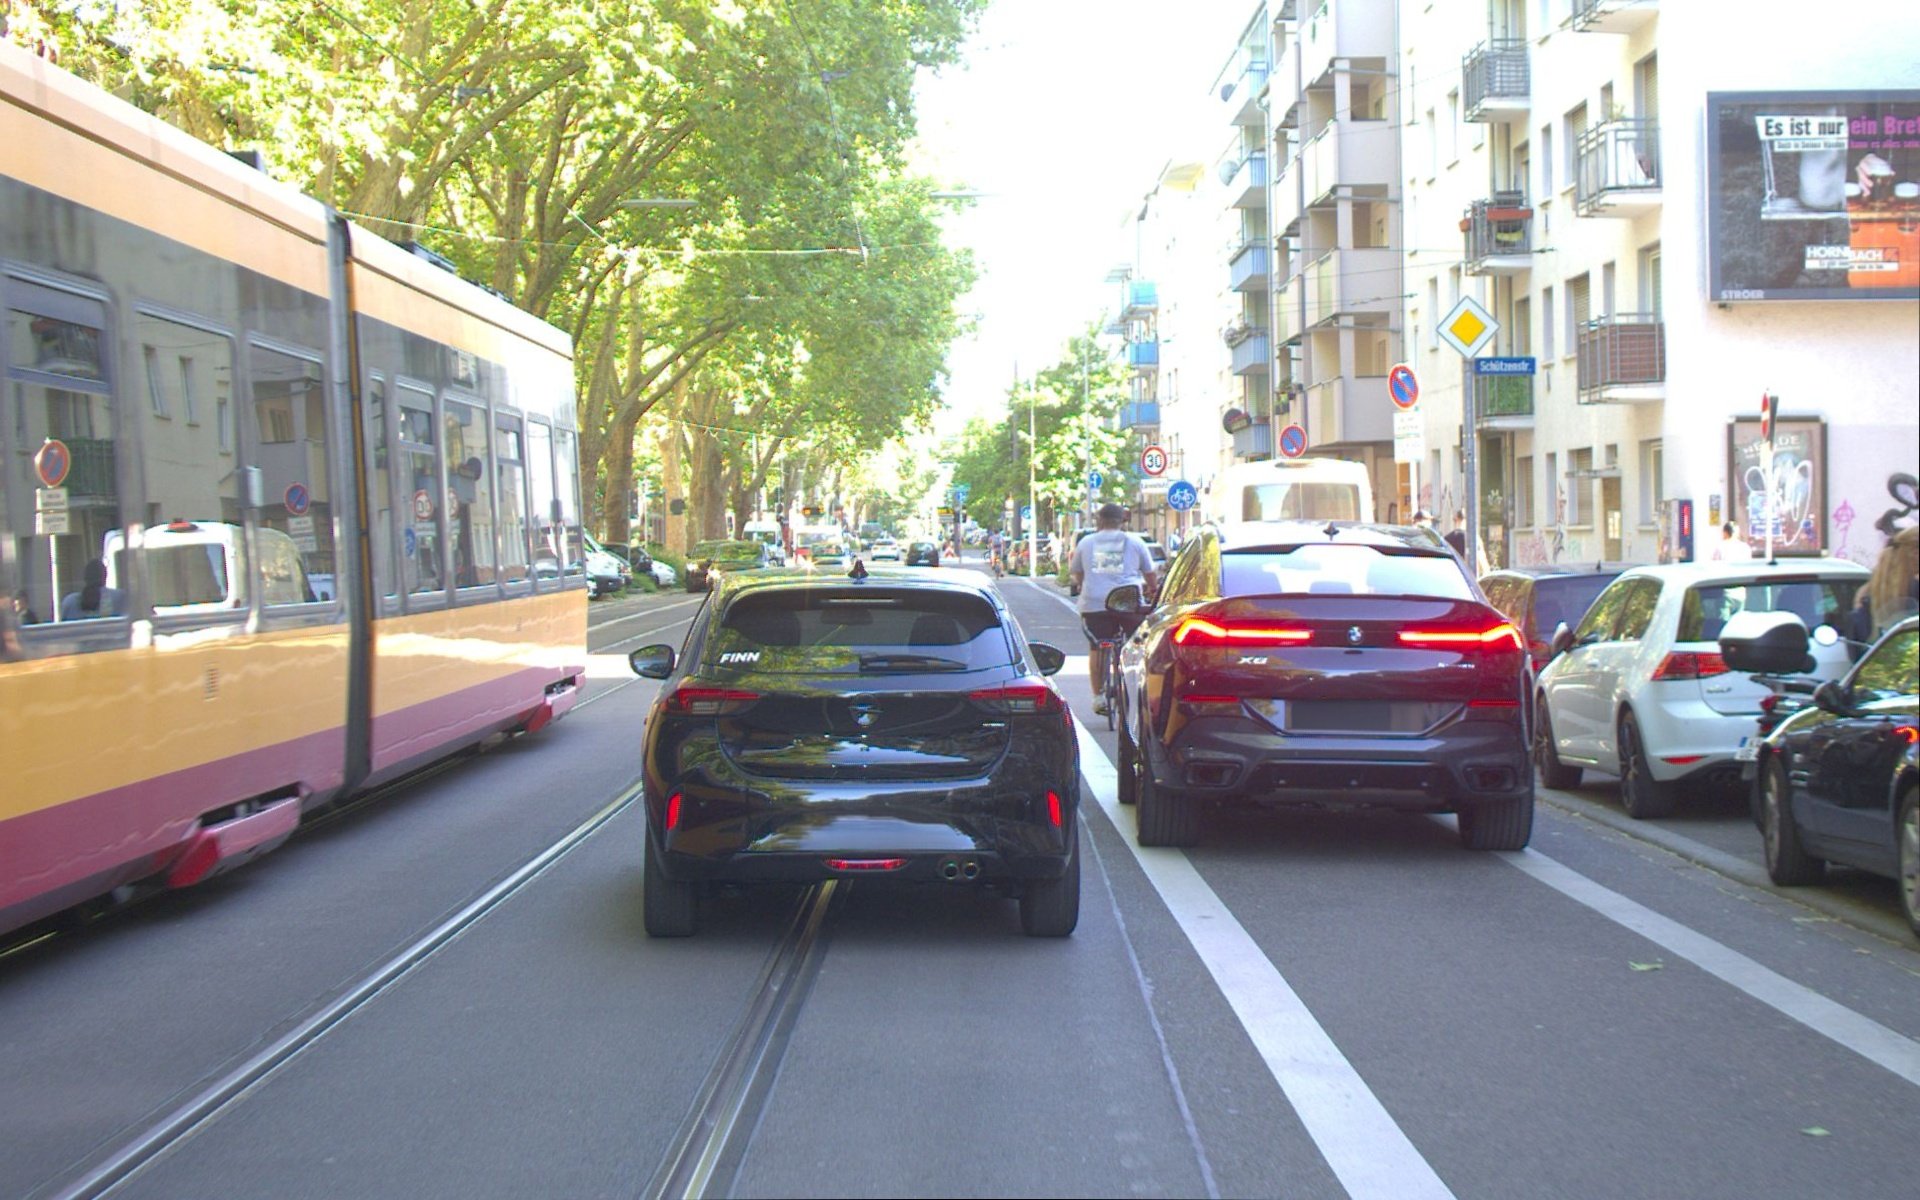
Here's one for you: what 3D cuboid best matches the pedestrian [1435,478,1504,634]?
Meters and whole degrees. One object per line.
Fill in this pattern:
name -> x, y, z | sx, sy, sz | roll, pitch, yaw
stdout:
pedestrian -> 6.084, -0.526, 41.072 | 0.625, 1.816, 1.082 | -2, 0, 2

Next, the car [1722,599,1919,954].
car -> 4.454, 0.662, 14.290 | 1.649, 1.268, 3.725 | -3, 1, -1

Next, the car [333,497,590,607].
car -> -11.752, -1.156, 81.315 | 5.740, 2.527, 2.162 | 0, 1, 0

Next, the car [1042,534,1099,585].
car -> 3.702, -1.375, 115.347 | 1.858, 1.646, 4.000 | -1, 1, 1

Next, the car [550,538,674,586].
car -> -11.709, -1.289, 115.835 | 3.987, 1.516, 1.771 | -1, 1, -1

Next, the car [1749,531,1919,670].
car -> 11.171, -0.022, 40.031 | 3.651, 1.568, 1.790 | -1, 1, 6

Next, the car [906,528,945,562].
car -> -1.701, -2.737, 171.045 | 1.750, 1.646, 4.000 | -1, 1, 1

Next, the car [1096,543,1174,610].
car -> 4.185, -0.595, 82.753 | 1.724, 1.520, 4.513 | -1, 1, 1

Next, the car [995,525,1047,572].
car -> 2.281, -1.915, 127.249 | 1.858, 1.646, 4.000 | -1, 1, 1

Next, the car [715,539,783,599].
car -> -5.393, -0.812, 88.057 | 1.635, 1.504, 3.692 | 0, 1, -2

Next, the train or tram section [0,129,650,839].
train or tram section -> -4.171, -0.655, 23.134 | 2.937, 3.606, 11.062 | 1, 1, 1

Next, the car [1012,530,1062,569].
car -> 3.267, -2.158, 146.251 | 1.718, 1.568, 4.085 | -1, 1, -4

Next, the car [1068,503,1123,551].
car -> 4.819, -2.609, 122.628 | 1.858, 1.646, 4.000 | -1, 1, 1

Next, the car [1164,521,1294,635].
car -> 4.480, -0.394, 57.727 | 1.858, 1.814, 4.351 | -1, 1, 0

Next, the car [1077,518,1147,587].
car -> 4.310, -1.385, 98.184 | 1.858, 1.883, 4.924 | -1, 1, 1

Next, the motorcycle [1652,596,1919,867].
motorcycle -> 4.614, 0.636, 17.472 | 2.133, 1.284, 0.643 | -1, 1, -22

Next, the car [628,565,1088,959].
car -> -0.395, 0.579, 14.456 | 1.679, 1.417, 3.628 | 0, 1, -1

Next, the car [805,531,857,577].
car -> -4.424, -1.599, 118.190 | 1.718, 1.504, 3.723 | -1, 1, -2

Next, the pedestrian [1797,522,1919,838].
pedestrian -> 4.950, 0.414, 18.380 | 0.763, 1.651, 0.717 | -1, 1, 1

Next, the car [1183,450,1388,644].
car -> 4.412, -0.737, 47.552 | 2.149, 2.487, 6.089 | -1, 1, -1

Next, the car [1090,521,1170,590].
car -> 4.387, -1.173, 89.340 | 1.766, 1.699, 4.283 | -1, 1, -1

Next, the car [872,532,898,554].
car -> -4.994, -3.811, 230.033 | 1.679, 1.417, 3.628 | 0, 1, -1

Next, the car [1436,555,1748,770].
car -> 4.725, 0.412, 26.202 | 1.649, 1.415, 4.060 | -3, 1, 1

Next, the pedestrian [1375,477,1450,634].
pedestrian -> 5.406, -0.531, 41.095 | 0.709, 1.816, 1.082 | -2, 0, 2

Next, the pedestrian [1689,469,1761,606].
pedestrian -> 8.933, -0.728, 40.150 | 0.632, 1.575, 0.933 | 1, 0, 2

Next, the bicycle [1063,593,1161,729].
bicycle -> 1.268, 0.496, 29.001 | 0.701, 1.088, 1.990 | 1, 1, -1

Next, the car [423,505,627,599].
car -> -12.067, -1.337, 95.618 | 5.360, 2.469, 2.057 | -1, 1, 0

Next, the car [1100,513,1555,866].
car -> 1.859, 0.393, 18.831 | 1.944, 1.698, 4.630 | 0, 1, -1

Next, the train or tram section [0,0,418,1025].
train or tram section -> -4.354, -0.538, 11.943 | 2.937, 3.606, 11.259 | 1, 1, 1

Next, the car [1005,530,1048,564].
car -> 2.945, -2.375, 153.386 | 1.718, 1.485, 3.682 | -1, 1, -2

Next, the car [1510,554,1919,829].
car -> 4.482, 0.476, 20.785 | 1.602, 1.415, 4.013 | -3, 1, 0

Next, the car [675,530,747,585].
car -> -8.190, -1.417, 113.461 | 1.993, 1.694, 4.485 | -3, 1, 0

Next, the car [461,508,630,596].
car -> -12.585, -1.481, 104.670 | 4.943, 2.558, 2.083 | -1, 1, -3

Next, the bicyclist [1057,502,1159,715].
bicyclist -> 1.236, 0.066, 28.917 | 0.786, 1.753, 0.915 | -1, 1, -1
